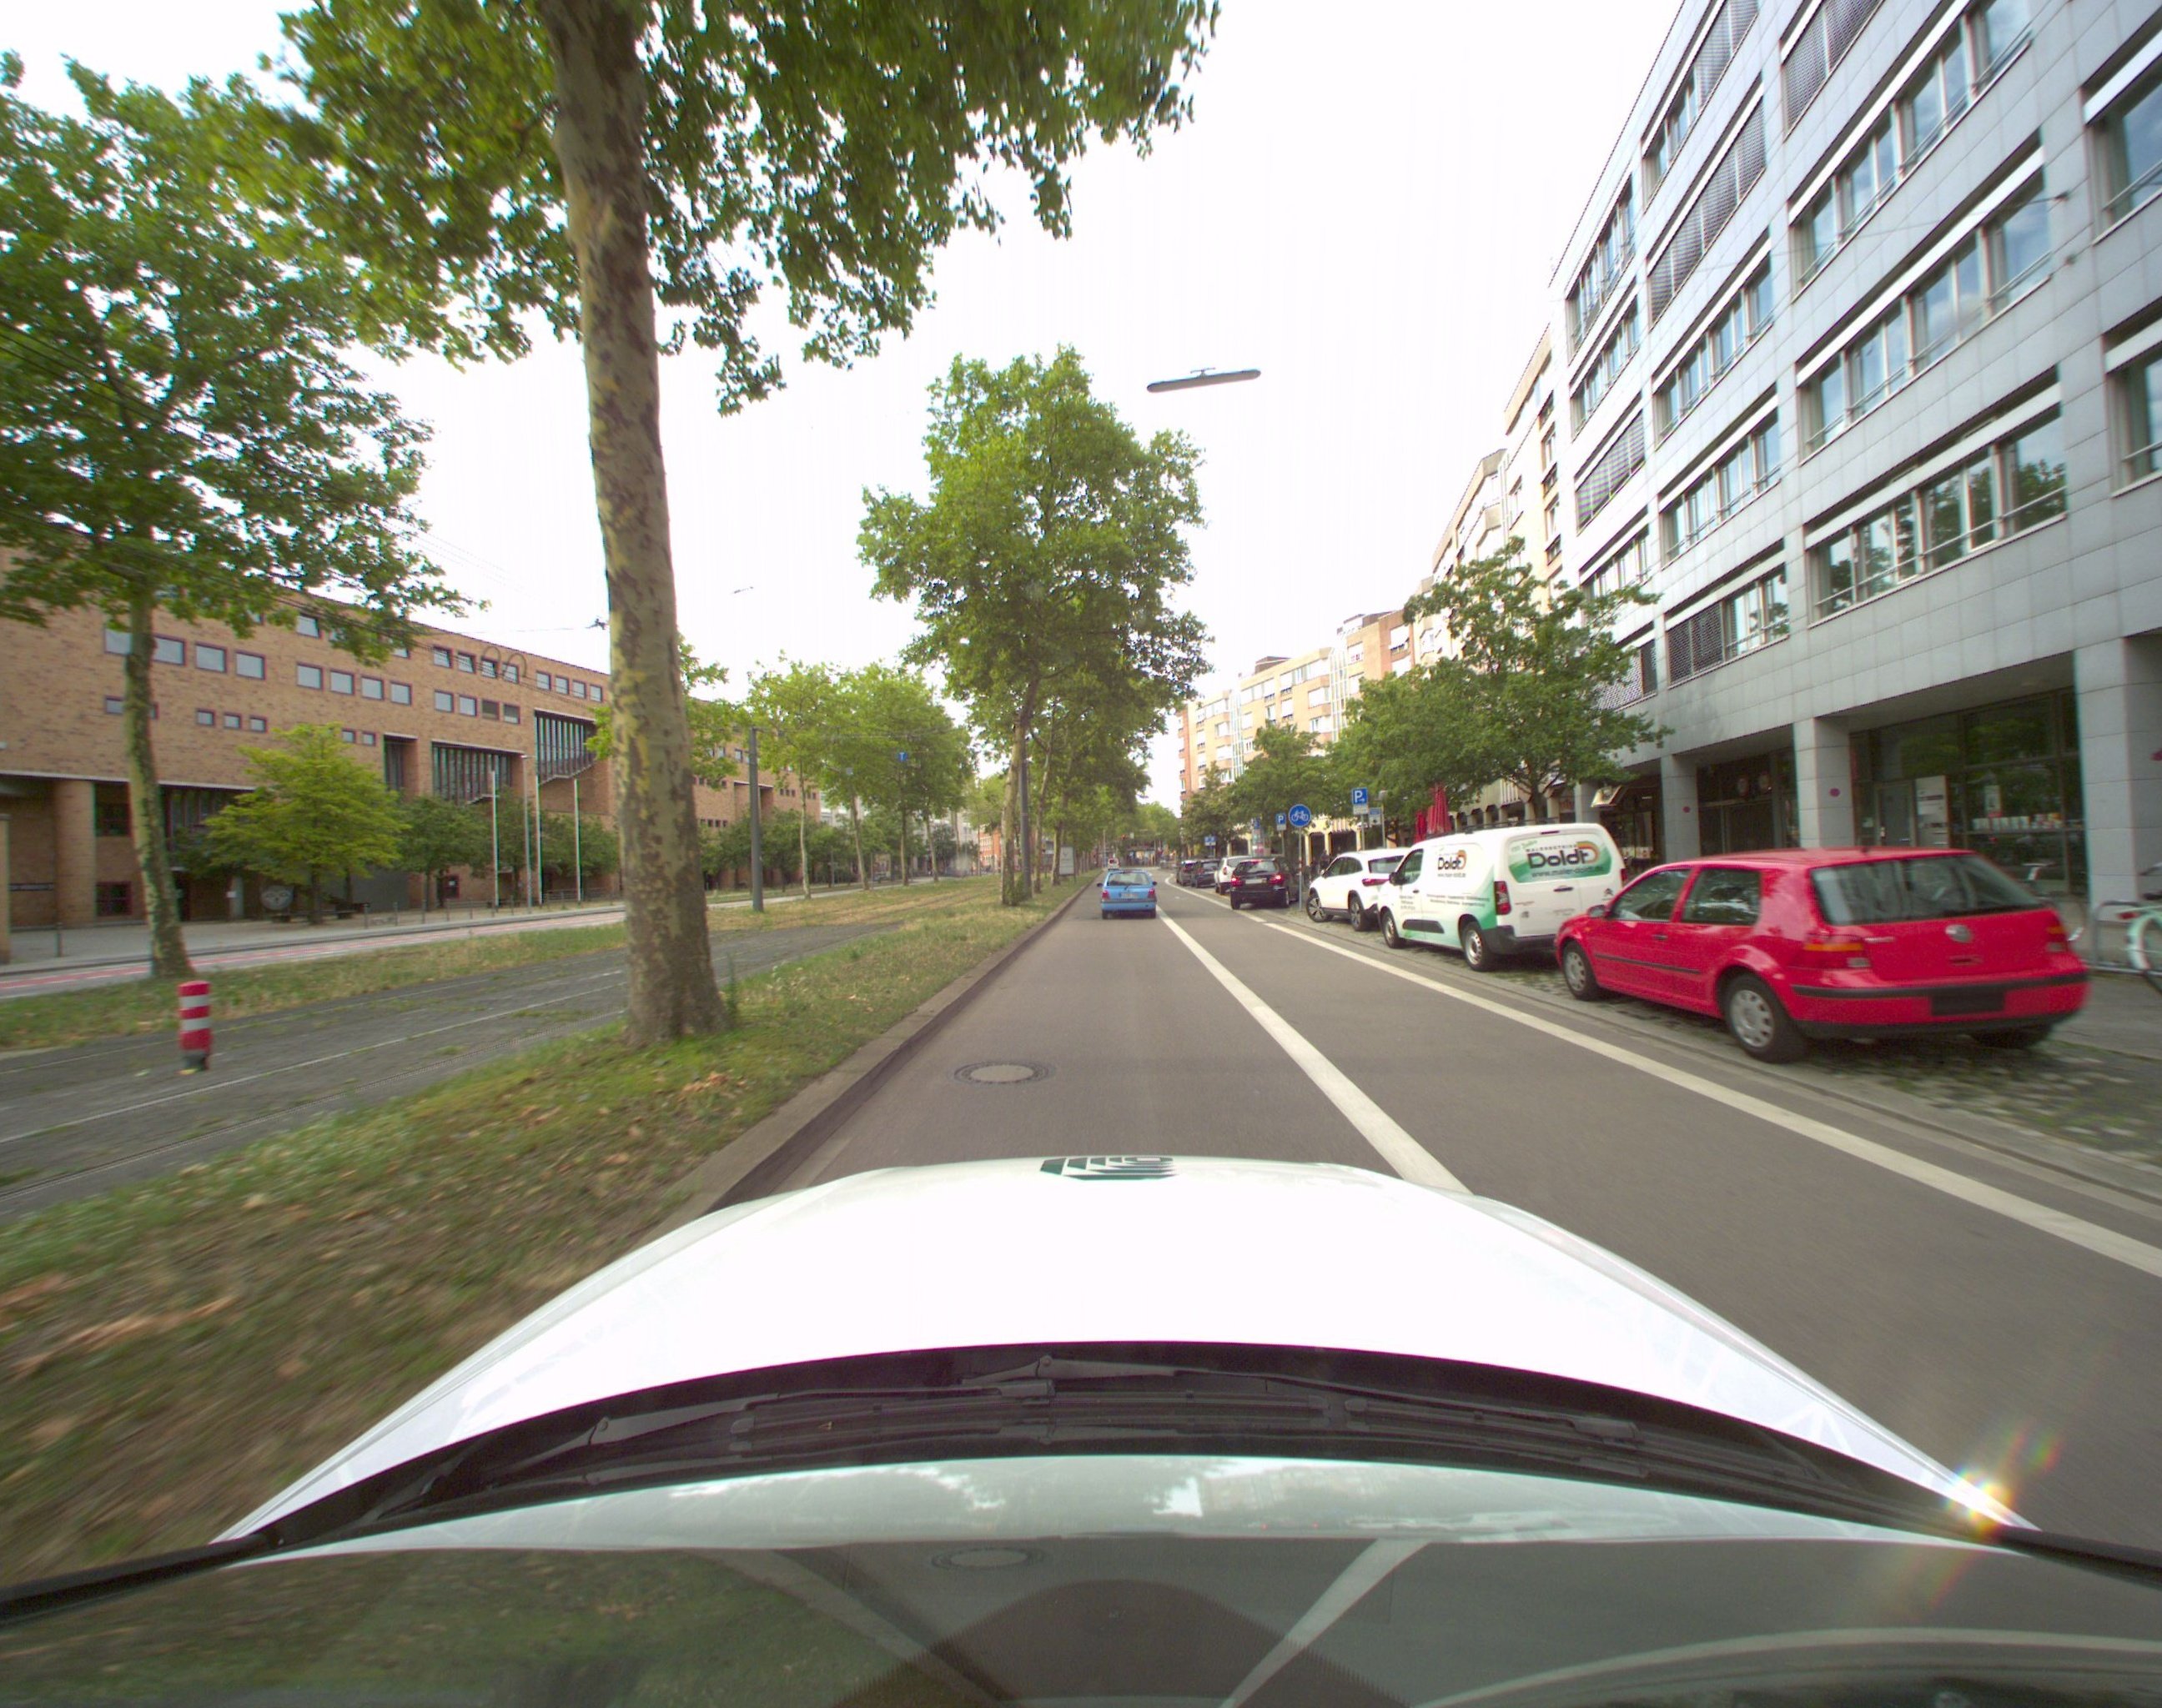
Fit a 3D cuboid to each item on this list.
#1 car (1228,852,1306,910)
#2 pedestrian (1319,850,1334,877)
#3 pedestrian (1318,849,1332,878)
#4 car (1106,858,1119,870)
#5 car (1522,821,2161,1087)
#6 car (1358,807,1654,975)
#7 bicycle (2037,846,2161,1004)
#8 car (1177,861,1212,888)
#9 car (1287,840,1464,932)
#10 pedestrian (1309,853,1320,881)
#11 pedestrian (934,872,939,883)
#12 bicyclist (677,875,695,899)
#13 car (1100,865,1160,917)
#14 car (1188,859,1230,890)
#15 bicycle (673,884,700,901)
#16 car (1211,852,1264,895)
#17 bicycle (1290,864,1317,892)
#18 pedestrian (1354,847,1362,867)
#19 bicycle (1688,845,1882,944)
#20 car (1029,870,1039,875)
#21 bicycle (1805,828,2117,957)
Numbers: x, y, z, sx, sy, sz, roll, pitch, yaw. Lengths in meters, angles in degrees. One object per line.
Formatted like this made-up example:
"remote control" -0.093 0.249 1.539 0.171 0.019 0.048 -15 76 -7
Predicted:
"car" 6.157 0.824 26.570 1.759 1.577 4.327 -5 -1 21
"pedestrian" 14.759 0.551 48.905 0.740 1.569 0.766 -3 -1 12
"pedestrian" 13.178 0.517 43.993 0.510 1.569 0.483 -3 -1 38
"car" 5.262 1.690 134.960 1.924 1.926 4.959 -2 -1 3
"car" 5.618 0.613 6.920 1.713 1.432 4.261 -5 -1 6
"car" 5.844 0.464 12.015 1.821 1.864 4.647 -5 -1 0
"bicycle" 8.732 0.509 6.434 1.846 1.139 0.492 -3 -1 -5
"car" 6.937 1.231 50.256 1.732 1.519 4.405 -4 -1 4
"car" 6.282 0.654 18.038 1.990 1.602 4.578 -5 -1 -3
"pedestrian" 12.418 0.699 43.326 0.409 1.479 0.504 -3 -1 9
"pedestrian" -23.758 3.873 133.719 0.549 1.705 0.886 -2 -1 7
"bicyclist" -27.424 2.296 56.567 0.661 1.591 0.985 -3 -1 5
"car" 1.463 1.063 24.505 1.634 1.386 3.846 -2 -1 3
"car" 7.022 1.128 45.107 1.709 1.519 4.205 -4 -1 2
"bicycle" -27.400 2.659 56.624 0.665 1.084 2.097 -3 -1 6
"car" 6.849 0.826 36.013 1.852 1.653 4.170 -4 -1 5
"bicycle" 8.684 0.927 31.833 0.603 1.029 1.867 -3 -1 2
"pedestrian" 24.221 0.247 71.158 0.529 1.662 0.854 -3 -1 15
"bicycle" 9.195 0.529 10.692 1.897 1.197 0.481 -3 -1 10
"car" -10.725 4.215 186.069 1.723 1.245 4.536 -2 -1 2
"bicycle" 9.708 0.419 9.050 2.622 1.258 0.655 -3 -1 2
